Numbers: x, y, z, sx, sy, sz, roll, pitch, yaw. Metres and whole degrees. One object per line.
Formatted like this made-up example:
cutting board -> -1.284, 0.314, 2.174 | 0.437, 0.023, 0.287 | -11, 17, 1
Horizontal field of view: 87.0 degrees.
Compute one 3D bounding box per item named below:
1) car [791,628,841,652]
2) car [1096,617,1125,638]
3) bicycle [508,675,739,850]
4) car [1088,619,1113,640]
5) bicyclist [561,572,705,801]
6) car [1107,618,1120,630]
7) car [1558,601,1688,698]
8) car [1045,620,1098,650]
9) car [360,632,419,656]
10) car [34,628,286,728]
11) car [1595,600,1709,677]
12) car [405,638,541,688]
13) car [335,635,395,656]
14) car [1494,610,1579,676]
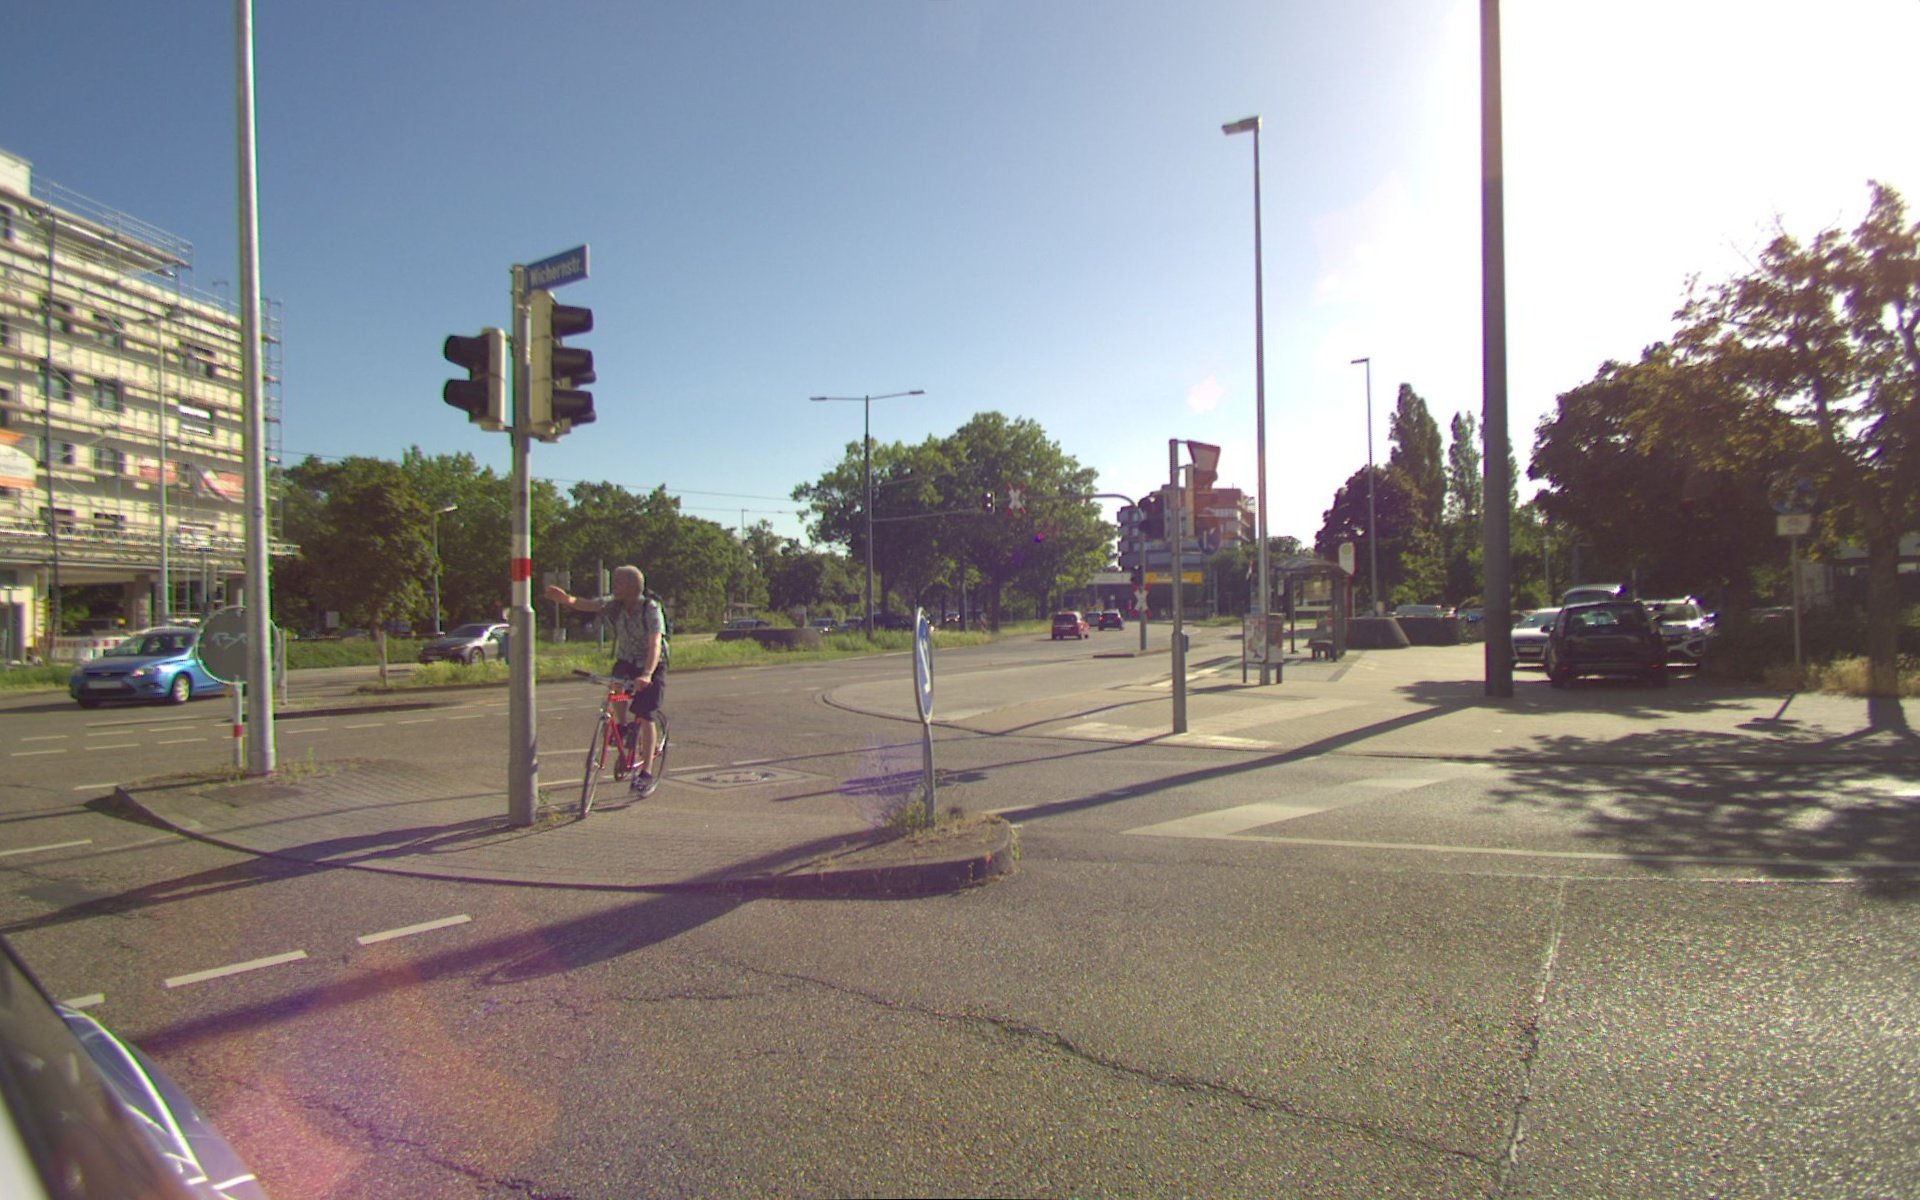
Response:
car -> -9.554, 2.632, 67.456 | 1.854, 1.467, 4.467 | -1, -2, 12
car -> 11.386, 2.065, 76.440 | 1.979, 1.564, 4.468 | -1, -2, 11
bicycle -> -2.348, 1.094, 7.363 | 0.820, 0.994, 1.941 | -1, -1, 8
car -> 12.149, 2.561, 87.896 | 1.975, 1.675, 4.476 | -1, -2, 6
bicyclist -> -2.359, 0.608, 7.341 | 0.818, 1.576, 0.594 | -1, -2, 8
car -> 26.784, 4.127, 177.136 | 1.975, 2.029, 3.993 | -1, -1, 5
car -> 11.744, 0.840, 18.050 | 1.678, 1.519, 3.557 | -4, -3, 32
car -> 6.237, 1.940, 56.220 | 1.985, 1.564, 4.456 | -2, -2, 19
car -> -39.918, 3.073, 70.898 | 1.800, 1.596, 3.677 | -1, -1, 7
car -> -16.172, 1.493, 20.828 | 1.846, 1.789, 4.488 | -1, -2, -3
car -> 15.662, 0.851, 23.099 | 1.793, 1.592, 3.959 | -2, -2, 30
car -> -16.156, 2.065, 33.853 | 1.854, 1.467, 4.469 | -1, -2, 11
car -> -42.062, 3.215, 71.630 | 1.800, 1.405, 3.677 | -1, -1, 7
car -> 14.490, 1.028, 25.360 | 1.678, 1.519, 3.557 | -2, -2, 32
